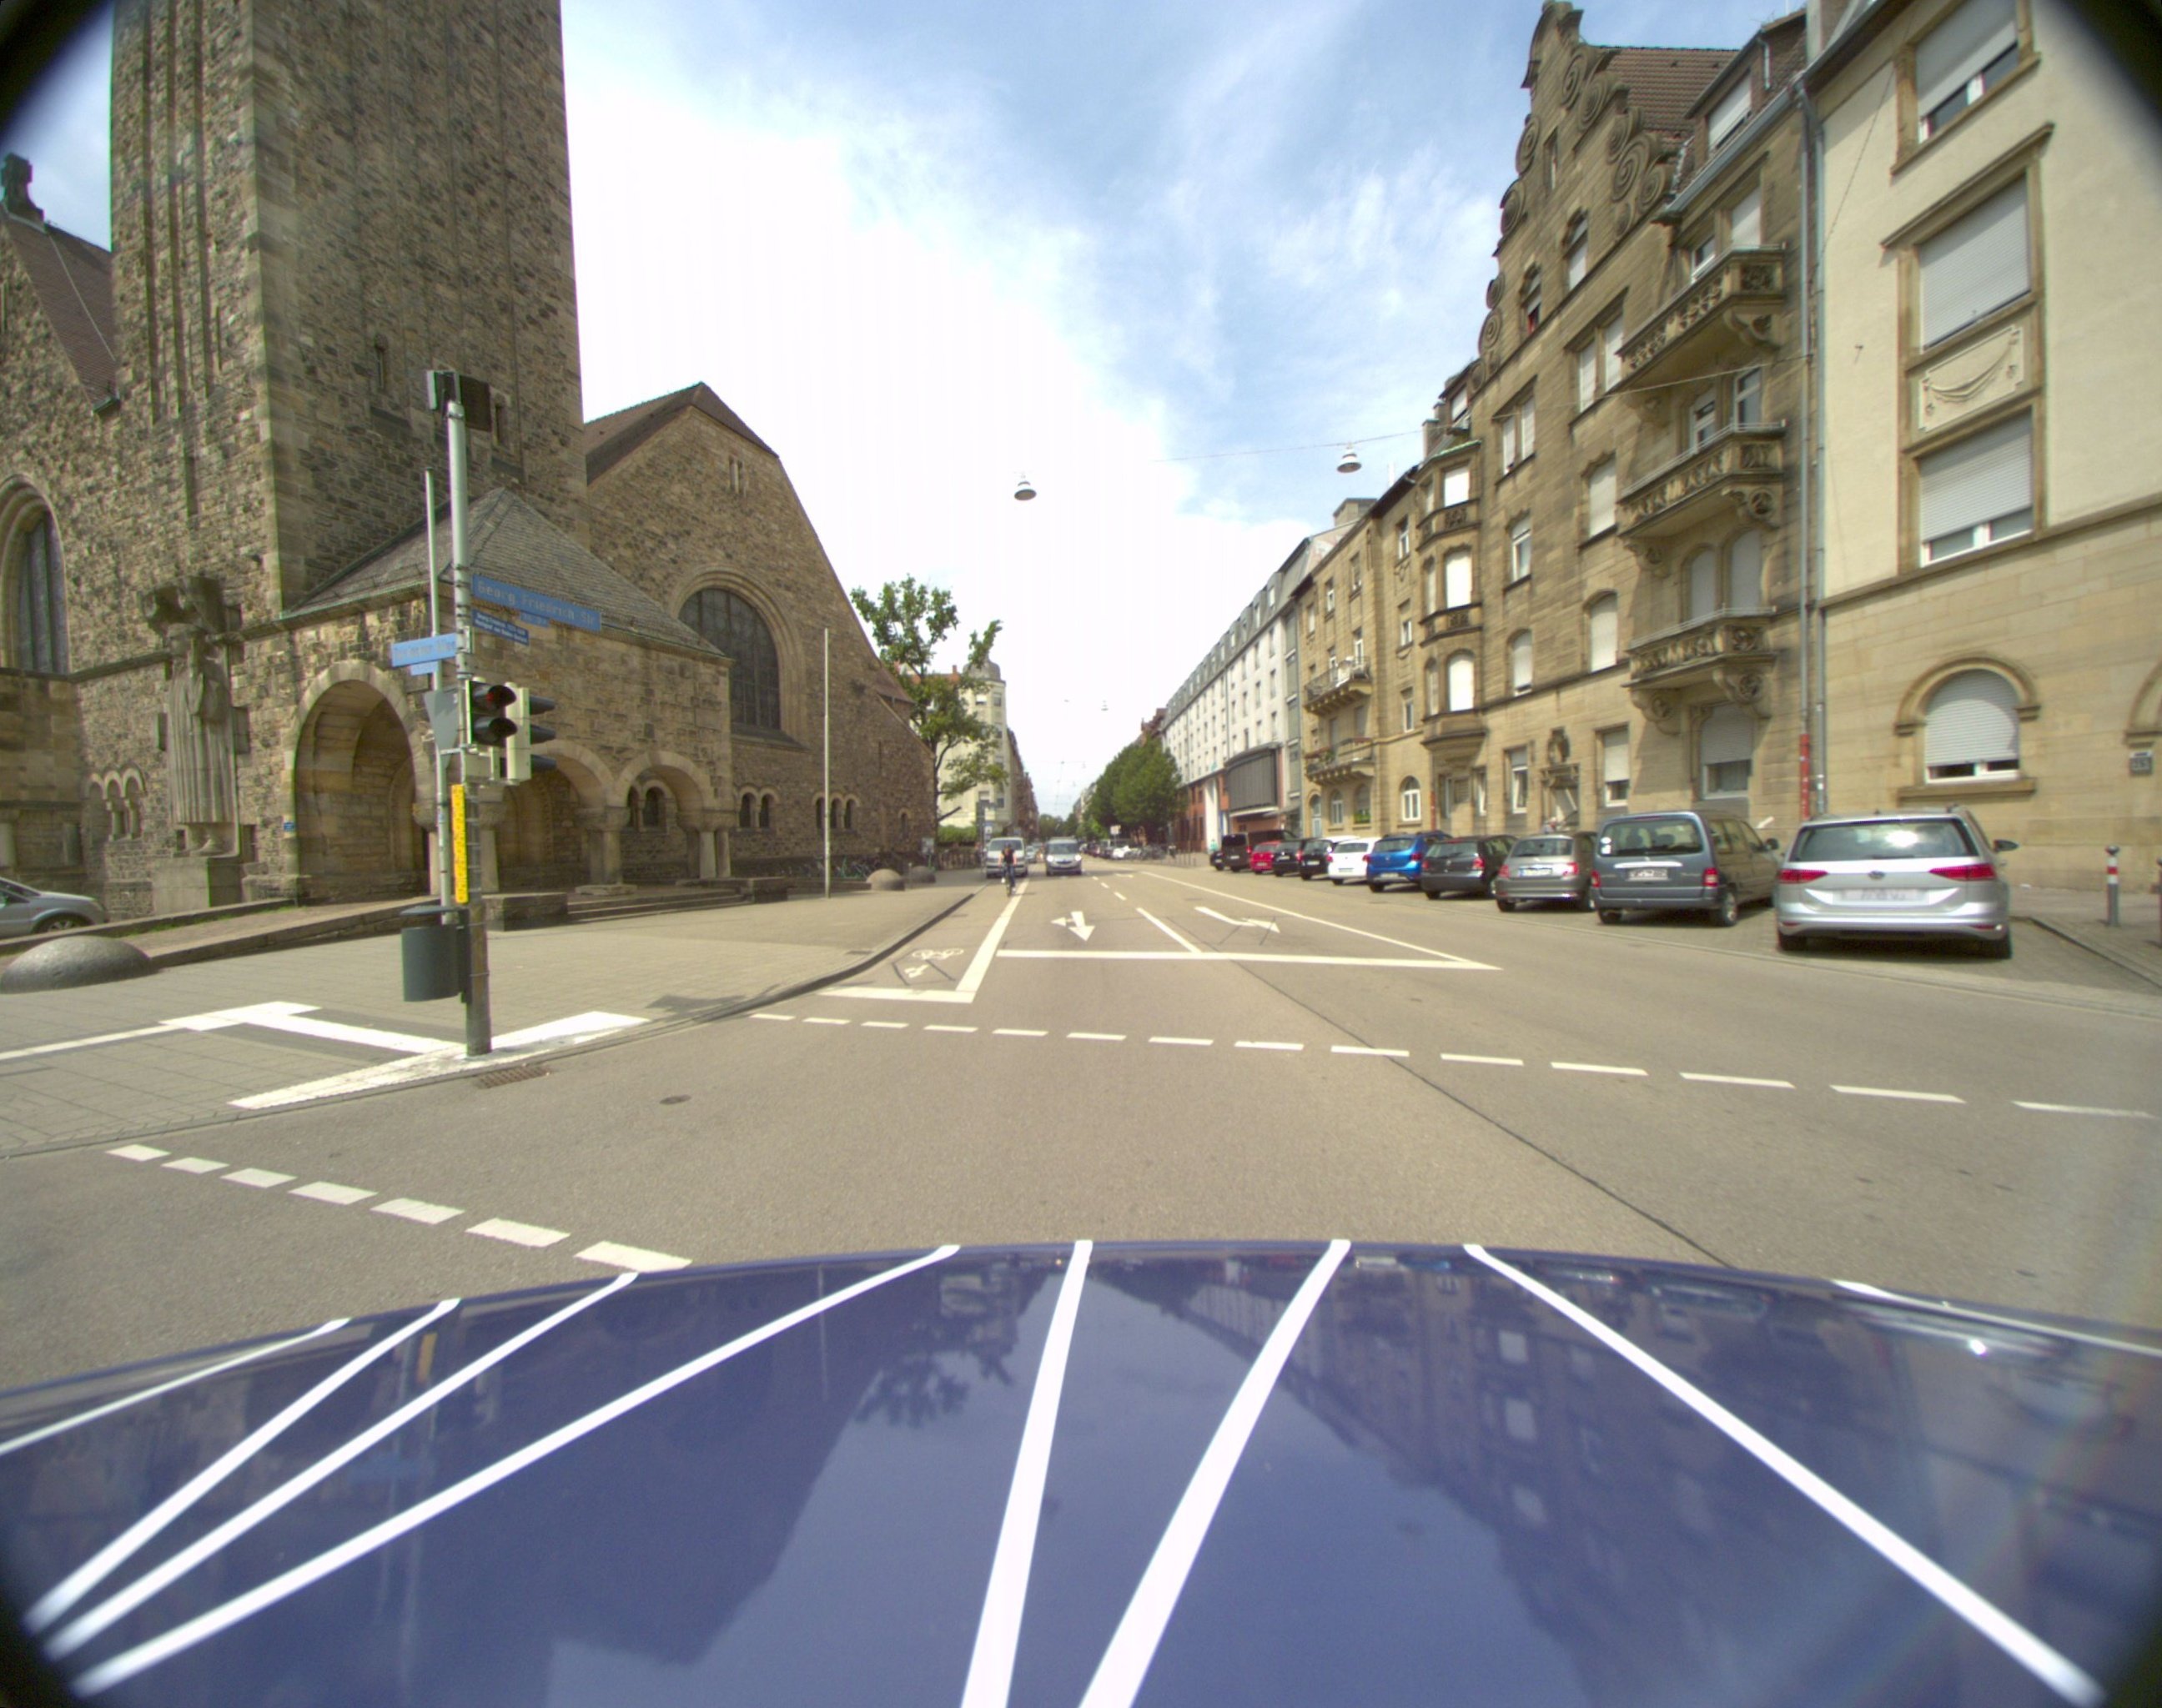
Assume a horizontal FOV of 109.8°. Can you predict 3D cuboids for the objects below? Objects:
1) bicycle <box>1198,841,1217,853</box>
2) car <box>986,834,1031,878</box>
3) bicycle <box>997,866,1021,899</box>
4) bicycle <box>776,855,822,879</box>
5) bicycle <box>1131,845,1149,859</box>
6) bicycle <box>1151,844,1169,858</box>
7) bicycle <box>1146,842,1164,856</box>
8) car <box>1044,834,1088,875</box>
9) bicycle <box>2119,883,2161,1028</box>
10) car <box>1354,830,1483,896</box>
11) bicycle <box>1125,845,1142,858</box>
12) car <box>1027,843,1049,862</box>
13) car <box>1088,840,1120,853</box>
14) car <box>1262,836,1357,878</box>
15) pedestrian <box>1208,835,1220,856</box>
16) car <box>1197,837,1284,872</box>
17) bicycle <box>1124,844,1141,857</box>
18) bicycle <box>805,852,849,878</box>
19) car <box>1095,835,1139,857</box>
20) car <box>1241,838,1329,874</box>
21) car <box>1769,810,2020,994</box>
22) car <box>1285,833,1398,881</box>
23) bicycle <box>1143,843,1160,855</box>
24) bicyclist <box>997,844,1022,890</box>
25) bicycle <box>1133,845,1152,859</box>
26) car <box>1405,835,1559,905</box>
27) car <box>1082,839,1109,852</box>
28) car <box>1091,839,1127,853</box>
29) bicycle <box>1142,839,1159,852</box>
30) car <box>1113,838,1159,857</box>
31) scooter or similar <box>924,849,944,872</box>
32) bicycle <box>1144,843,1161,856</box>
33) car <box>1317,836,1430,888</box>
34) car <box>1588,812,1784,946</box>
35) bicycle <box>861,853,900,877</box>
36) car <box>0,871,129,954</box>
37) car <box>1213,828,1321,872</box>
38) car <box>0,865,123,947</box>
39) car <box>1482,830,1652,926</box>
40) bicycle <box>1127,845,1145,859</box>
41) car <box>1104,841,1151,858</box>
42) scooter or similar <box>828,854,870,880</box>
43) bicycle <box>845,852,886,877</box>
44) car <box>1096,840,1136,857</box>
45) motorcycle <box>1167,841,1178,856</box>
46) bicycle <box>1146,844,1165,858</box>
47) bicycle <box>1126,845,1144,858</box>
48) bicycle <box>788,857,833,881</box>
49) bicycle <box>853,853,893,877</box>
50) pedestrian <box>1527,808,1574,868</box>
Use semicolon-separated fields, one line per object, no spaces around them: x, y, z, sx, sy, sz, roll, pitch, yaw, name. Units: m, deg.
11.482;-0.637;68.855;1.614;0.921;0.932;-7;1;10;bicycle
-3.528;0.030;37.790;2.020;2.018;5.121;-1;1;-3;car
-2.259;0.889;24.079;0.586;0.927;1.783;-2;1;-1;bicycle
-11.739;0.542;31.630;1.778;0.952;0.546;1;2;17;bicycle
4.730;-0.160;61.025;1.409;1.032;0.401;-4;2;0;bicycle
6.293;-0.221;60.462;1.409;1.020;0.401;-3;2;0;bicycle
6.036;-0.422;62.228;1.409;1.020;0.401;-3;2;0;bicycle
-0.707;0.011;38.680;1.942;1.913;4.006;-2;1;2;car
9.354;0.782;5.828;1.813;1.114;0.594;-1;2;5;bicycle
9.523;0.199;21.348;3.785;1.642;1.720;-3;2;-38;car
4.477;-0.215;64.933;1.409;1.020;0.401;-4;2;0;bicycle
-3.566;-0.163;63.522;1.760;1.460;4.417;-2;1;-3;car
3.018;-0.955;101.094;4.012;1.559;1.687;-3;1;-35;car
9.305;0.095;30.828;4.003;1.494;1.627;-3;2;-37;car
9.733;-0.621;55.640;0.662;1.477;0.508;-2;2;-13;pedestrian
8.380;-0.013;39.587;4.679;1.401;1.895;-6;2;-41;car
4.447;-0.301;65.739;1.409;1.020;0.401;-4;2;0;bicycle
-11.082;0.477;33.127;1.779;1.105;0.546;-1;1;17;bicycle
3.650;-0.836;77.035;4.011;1.987;1.857;-4;2;-33;car
9.044;0.058;33.514;4.019;1.401;1.792;-3;2;-41;car
9.939;0.397;9.270;4.019;1.763;1.792;-3;2;-41;car
9.565;0.078;27.797;4.019;1.556;1.792;-3;1;-34;car
5.948;-0.426;64.015;1.409;1.020;0.401;-3;2;0;bicycle
-2.268;0.395;24.071;0.649;1.409;1.094;-2;1;-1;bicyclist
4.854;-0.162;60.135;1.409;1.032;0.401;-4;2;0;bicycle
9.790;0.331;18.469;3.910;1.435;1.832;-3;2;-38;car
2.247;-1.391;120.293;4.012;1.847;1.687;-3;1;-35;car
3.389;-0.945;90.311;4.012;1.445;1.687;-3;1;-35;car
5.943;-0.710;65.292;1.409;1.020;0.401;-3;2;0;bicycle
4.962;-0.624;68.821;4.012;1.537;1.598;-3;2;-36;car
-7.991;0.338;41.405;0.545;1.200;1.443;-1;1;11;scooter or similar
5.970;-0.366;63.531;1.409;1.020;0.401;-3;2;0;bicycle
9.570;0.222;24.755;3.692;1.473;1.737;-3;2;-38;car
10.087;0.290;12.565;4.019;1.868;1.792;-3;2;-41;car
-9.669;0.517;36.613;1.779;1.105;0.546;-1;1;17;bicycle
-22.151;1.214;14.793;2.014;1.534;4.032;-1;1;23;car
9.020;-0.231;36.656;5.280;1.899;2.116;-3;2;-36;car
-24.677;1.197;16.464;1.947;1.716;4.427;-1;1;23;car
9.864;0.388;15.316;4.019;1.642;1.792;-3;2;-41;car
4.539;-0.193;63.020;1.409;1.032;0.401;-4;2;0;bicycle
4.395;-0.447;71.387;4.324;1.461;1.713;-3;2;-36;car
-10.483;0.582;34.283;1.779;1.133;0.546;-1;1;17;scooter or similar
-10.051;0.503;35.402;1.779;1.105;0.546;-1;1;17;bicycle
3.795;-0.616;82.537;4.012;1.605;1.708;-3;1;-35;car
7.354;-0.462;61.102;0.585;1.166;1.779;-3;1;0;motorcycle
6.039;-0.257;61.696;1.409;1.020;0.401;-3;2;0;bicycle
4.510;-0.218;63.661;1.409;1.020;0.401;-4;2;0;bicycle
-11.486;0.643;32.262;1.779;0.952;0.546;-1;1;17;bicycle
-9.847;0.533;35.987;1.771;1.105;0.546;-1;1;17;bicycle
13.083;-0.444;21.174;0.793;1.586;0.678;-4;2;-2;pedestrian
